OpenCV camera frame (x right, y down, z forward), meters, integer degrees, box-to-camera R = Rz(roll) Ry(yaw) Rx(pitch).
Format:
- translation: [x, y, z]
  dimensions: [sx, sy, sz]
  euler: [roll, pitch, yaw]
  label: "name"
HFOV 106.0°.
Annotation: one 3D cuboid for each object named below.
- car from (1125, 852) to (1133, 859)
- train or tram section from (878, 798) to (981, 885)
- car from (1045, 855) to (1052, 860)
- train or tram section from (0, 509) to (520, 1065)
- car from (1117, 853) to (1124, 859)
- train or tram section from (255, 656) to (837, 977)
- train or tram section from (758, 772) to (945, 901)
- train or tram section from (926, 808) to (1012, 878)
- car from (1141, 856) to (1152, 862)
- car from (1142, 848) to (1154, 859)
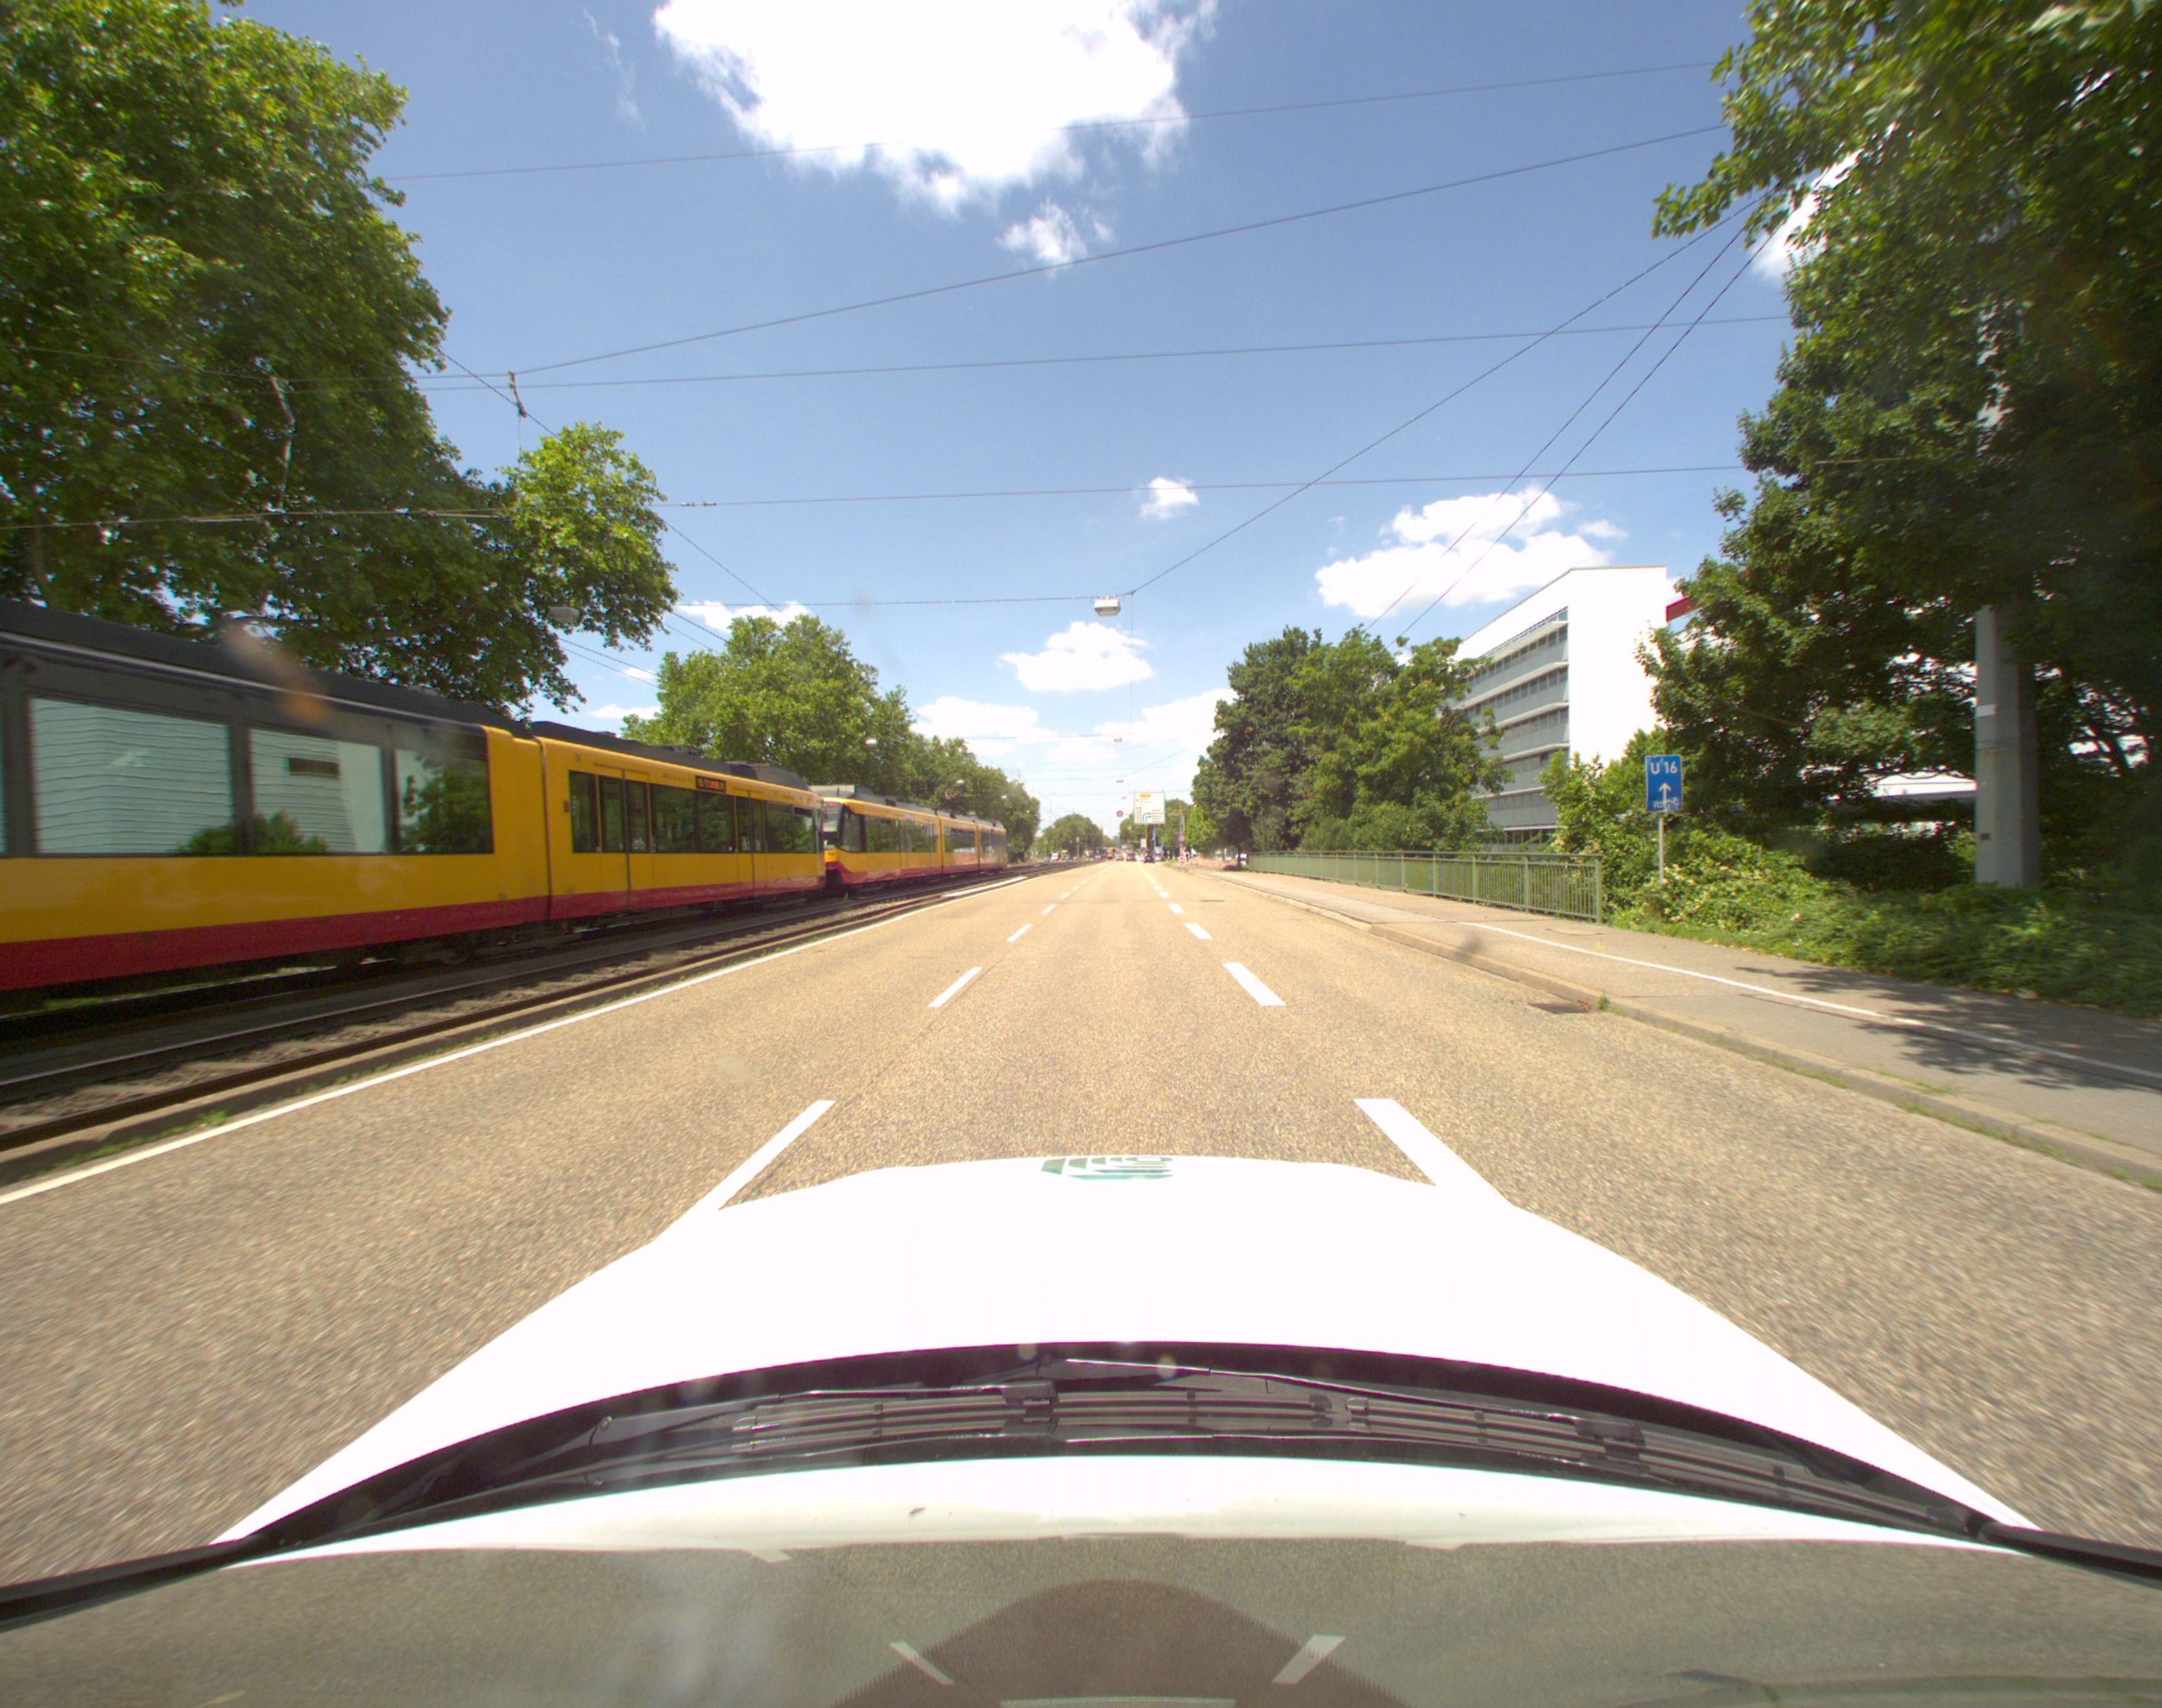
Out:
- translation: [11.132, 0.258, 188.321]
  dimensions: [1.869, 1.539, 3.779]
  euler: [1, 0, 2]
  label: "car"
- translation: [-7.967, -0.625, 44.449]
  dimensions: [3.025, 4.148, 10.242]
  euler: [-1, 0, 3]
  label: "train or tram section"
- translation: [-8.822, 0.937, 221.416]
  dimensions: [1.638, 1.550, 4.218]
  euler: [1, 0, 2]
  label: "car"
- translation: [-9.747, -0.505, 7.679]
  dimensions: [3.036, 4.267, 8.007]
  euler: [-1, 0, 2]
  label: "train or tram section"
- translation: [10.489, 0.603, 216.778]
  dimensions: [1.836, 1.549, 3.778]
  euler: [1, 0, 1]
  label: "car"
- translation: [-9.327, -0.542, 17.997]
  dimensions: [3.036, 4.267, 14.044]
  euler: [-1, 0, 2]
  label: "train or tram section"
- translation: [-8.606, -0.592, 33.284]
  dimensions: [3.025, 4.154, 13.494]
  euler: [-1, 0, 3]
  label: "train or tram section"
- translation: [-7.285, -0.683, 55.562]
  dimensions: [3.025, 4.140, 13.995]
  euler: [-1, 0, 4]
  label: "train or tram section"
- translation: [17.760, 1.377, 219.750]
  dimensions: [1.670, 1.549, 4.007]
  euler: [1, 0, 26]
  label: "car"
- translation: [11.595, -0.063, 141.453]
  dimensions: [1.892, 1.805, 3.978]
  euler: [1, 0, 2]
  label: "car"
